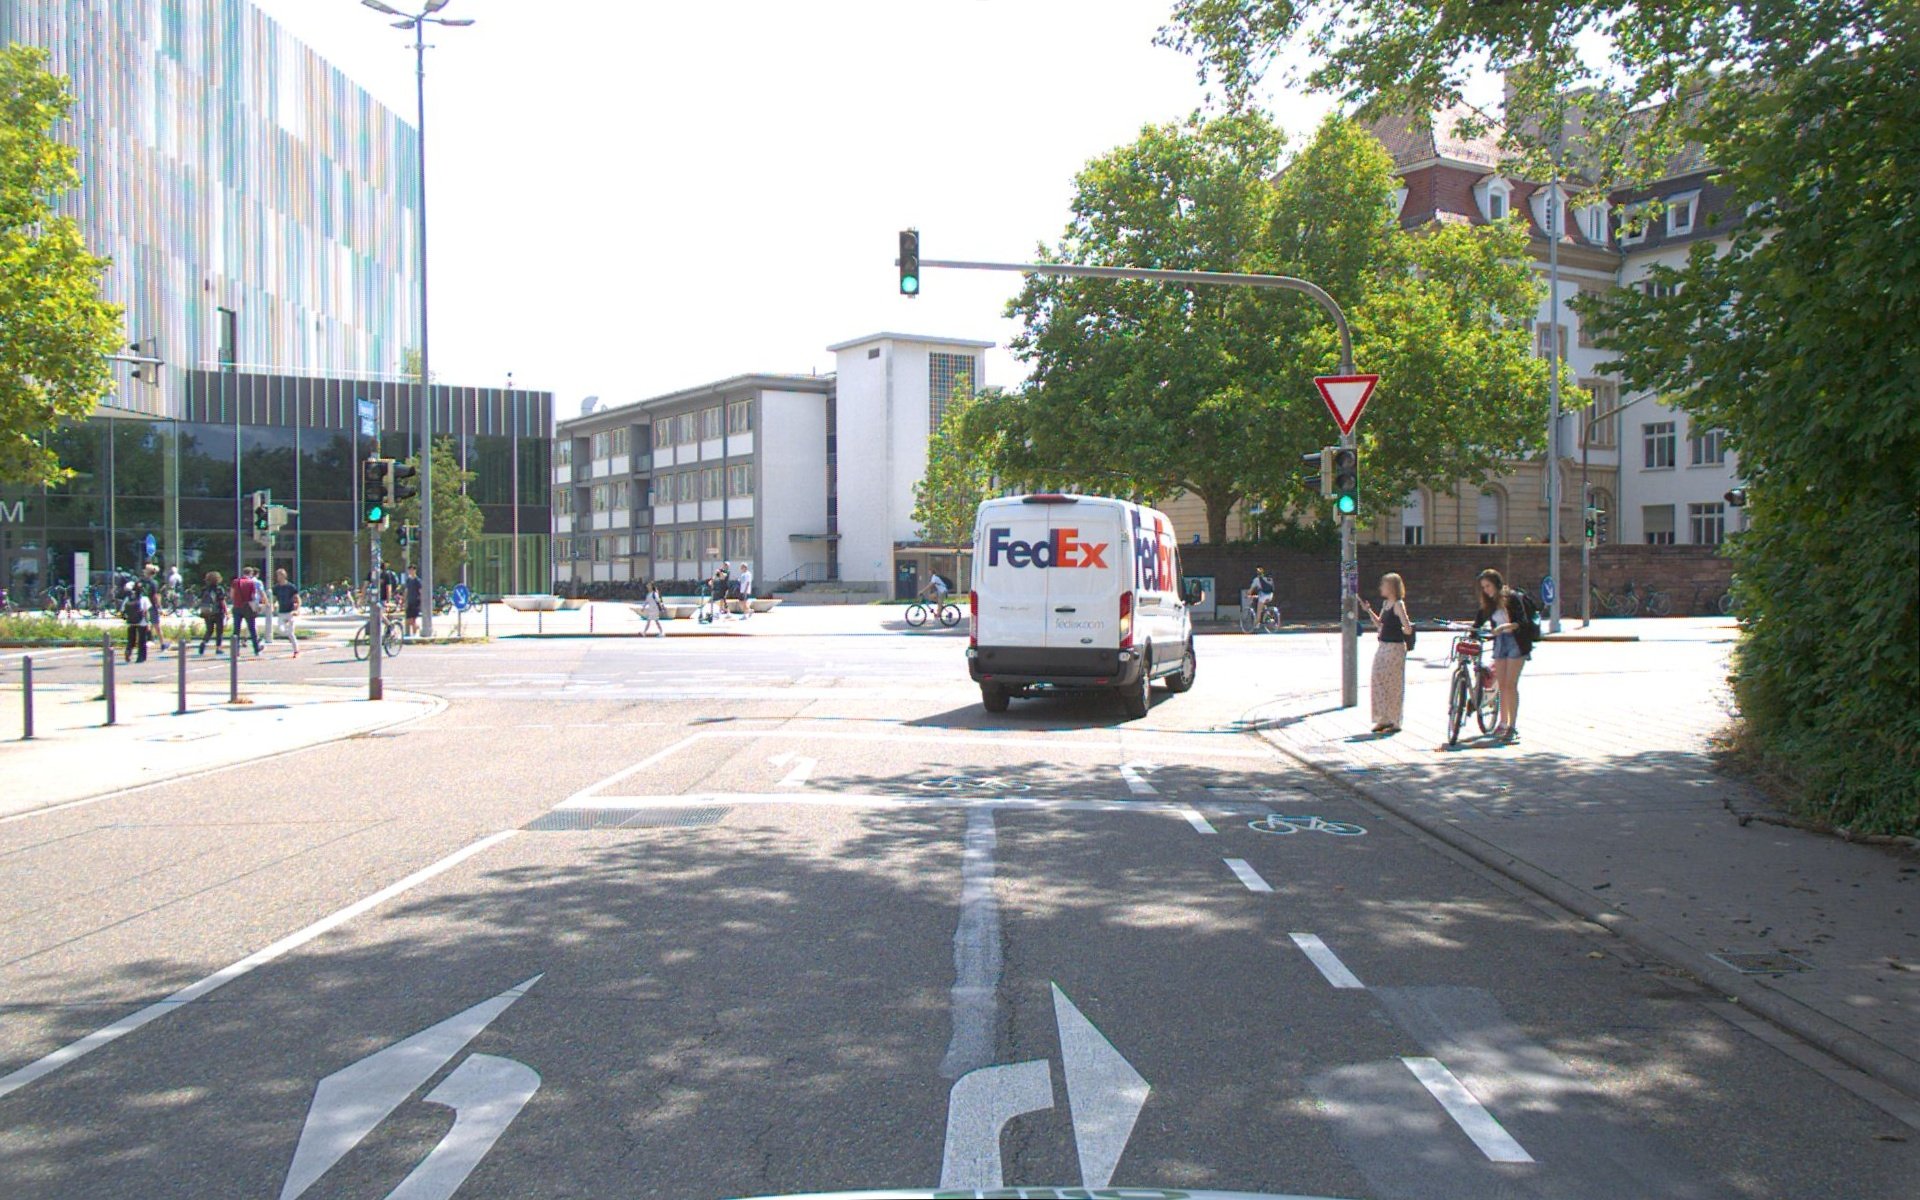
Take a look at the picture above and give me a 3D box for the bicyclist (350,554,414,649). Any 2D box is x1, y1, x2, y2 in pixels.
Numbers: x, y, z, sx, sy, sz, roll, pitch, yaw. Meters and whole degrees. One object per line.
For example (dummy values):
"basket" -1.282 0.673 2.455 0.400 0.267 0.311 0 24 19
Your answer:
"bicyclist" -11.473 0.021 32.864 0.772 1.849 1.000 -1 1 10

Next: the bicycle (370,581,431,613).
"bicycle" -22.438 -0.121 66.249 1.192 1.259 2.903 0 0 -44

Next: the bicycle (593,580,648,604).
"bicycle" -19.242 -0.458 93.795 2.934 1.387 1.102 0 0 -37

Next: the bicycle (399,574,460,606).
"bicycle" -21.489 -0.403 66.961 1.192 1.259 2.903 0 0 -44

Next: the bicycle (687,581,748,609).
"bicycle" -12.327 -0.244 84.148 2.934 1.387 1.102 0 0 -37

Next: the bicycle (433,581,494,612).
"bicycle" -20.292 -0.144 67.558 1.192 1.259 2.903 0 0 -44

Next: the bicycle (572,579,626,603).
"bicycle" -21.196 -0.508 97.143 2.934 1.387 1.102 0 0 -37

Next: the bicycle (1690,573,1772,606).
"bicycle" 24.712 -0.337 53.033 2.333 1.011 0.724 -1 1 -3

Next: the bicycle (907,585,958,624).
"bicycle" -0.842 0.131 50.874 0.830 1.165 1.995 0 1 23

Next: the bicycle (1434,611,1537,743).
"bicycle" 5.075 0.714 15.913 0.580 1.146 1.740 -3 0 28

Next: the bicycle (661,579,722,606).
"bicycle" -14.050 -0.378 86.530 2.934 1.387 1.259 0 0 -37

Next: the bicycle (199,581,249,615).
"bicycle" -27.835 -0.073 62.539 1.187 1.259 2.914 0 0 -35

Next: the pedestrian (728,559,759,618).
"pedestrian" -7.119 -0.396 54.481 0.852 1.922 0.908 0 0 -19

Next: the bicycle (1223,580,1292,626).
"bicycle" 7.714 0.061 42.976 0.544 1.150 2.153 -1 1 -29

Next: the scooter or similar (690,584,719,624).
"scooter or similar" -8.022 0.104 51.834 0.704 1.198 2.716 0 1 -13

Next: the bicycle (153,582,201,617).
"bicycle" -28.884 -0.024 60.969 1.187 1.259 2.916 0 0 -34

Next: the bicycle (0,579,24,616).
"bicycle" -33.407 -0.100 57.540 1.187 1.259 2.914 0 0 -36

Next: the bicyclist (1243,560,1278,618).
"bicyclist" 7.775 -0.293 42.818 0.508 1.477 0.779 -1 0 -29

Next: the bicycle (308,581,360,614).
"bicycle" -24.510 -0.114 64.758 1.188 1.259 2.913 0 0 -36

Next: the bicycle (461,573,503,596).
"bicycle" -33.670 -1.120 116.538 1.094 1.602 2.962 0 0 27

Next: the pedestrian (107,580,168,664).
"pedestrian" -16.203 0.417 32.589 0.754 1.625 0.799 -1 1 2

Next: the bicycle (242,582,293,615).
"bicycle" -26.530 -0.073 63.313 1.187 1.259 2.914 0 0 -35

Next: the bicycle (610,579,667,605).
"bicycle" -17.864 -0.437 91.883 2.934 1.387 1.102 0 0 -37

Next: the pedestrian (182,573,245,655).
"pedestrian" -15.681 0.278 34.742 0.808 1.683 0.862 0 1 17

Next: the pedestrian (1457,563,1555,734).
"pedestrian" 5.282 0.463 15.995 0.711 1.603 0.732 -3 -1 29

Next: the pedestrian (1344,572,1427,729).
"pedestrian" 4.460 0.518 17.372 0.715 1.603 0.776 -1 0 5

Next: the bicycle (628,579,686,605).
"bicycle" -16.422 -0.449 89.790 2.934 1.387 1.102 0 0 -37

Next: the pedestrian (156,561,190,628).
"pedestrian" -30.774 -0.225 64.671 0.967 2.609 0.999 0 0 -42

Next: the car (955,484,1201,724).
"car" 1.697 0.000 21.193 2.051 2.611 5.606 2 1 15

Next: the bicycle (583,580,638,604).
"bicycle" -20.105 -0.473 95.288 2.934 1.387 1.102 0 0 -37

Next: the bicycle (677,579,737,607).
"bicycle" -13.039 -0.363 85.255 2.934 1.387 1.102 0 0 -37

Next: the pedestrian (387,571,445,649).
"pedestrian" -13.403 0.236 40.771 0.813 1.903 1.084 0 1 24

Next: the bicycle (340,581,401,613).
"bicycle" -23.302 -0.132 65.344 1.192 1.259 2.903 0 0 -44

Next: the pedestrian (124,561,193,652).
"pedestrian" -17.138 0.137 35.384 0.835 1.909 1.006 0 1 23

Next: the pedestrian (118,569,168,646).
"pedestrian" -18.314 0.158 37.086 0.738 1.707 0.755 -1 1 -1

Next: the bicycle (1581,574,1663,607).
"bicycle" 21.029 -0.317 52.573 2.333 1.011 0.696 -1 1 -3

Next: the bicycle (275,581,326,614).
"bicycle" -25.555 -0.111 64.079 1.187 1.259 2.914 0 0 -35

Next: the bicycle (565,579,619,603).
"bicycle" -21.869 -0.519 98.329 2.934 1.387 1.102 0 0 -37

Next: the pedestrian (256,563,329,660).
"pedestrian" -13.566 0.213 33.655 0.687 1.887 1.400 -1 2 10

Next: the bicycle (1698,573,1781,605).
"bicycle" 25.005 -0.356 53.043 2.333 1.011 0.754 -1 1 -3

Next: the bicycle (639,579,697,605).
"bicycle" -15.661 -0.440 88.725 2.934 1.387 1.102 0 0 -37

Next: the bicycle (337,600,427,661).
"bicycle" -11.468 0.593 32.897 0.754 1.142 2.028 -1 1 11

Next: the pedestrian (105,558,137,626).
"pedestrian" -32.522 -0.306 64.122 0.965 2.609 1.002 0 0 -35

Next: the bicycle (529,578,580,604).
"bicycle" -25.555 -0.579 104.283 2.934 1.602 1.102 0 0 -37

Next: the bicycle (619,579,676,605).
"bicycle" -17.163 -0.431 90.852 2.934 1.387 1.102 0 0 -37

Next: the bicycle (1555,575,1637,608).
"bicycle" 20.204 -0.273 52.541 2.333 1.011 0.754 -1 1 -3

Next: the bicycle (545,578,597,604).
"bicycle" -23.958 -0.542 101.973 2.934 1.602 1.102 0 0 -37

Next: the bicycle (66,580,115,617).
"bicycle" -31.113 -0.066 59.136 1.187 1.259 2.914 0 0 -35

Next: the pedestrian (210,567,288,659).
"pedestrian" -14.571 0.252 33.923 0.789 1.839 1.267 -1 1 19

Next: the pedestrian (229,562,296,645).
"pedestrian" -15.833 0.060 37.568 0.844 1.850 1.095 0 1 24

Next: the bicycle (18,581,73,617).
"bicycle" -32.272 -0.044 58.342 1.362 1.259 2.914 0 0 -35

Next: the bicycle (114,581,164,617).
"bicycle" -29.896 -0.046 60.186 1.187 1.259 2.914 0 0 -35

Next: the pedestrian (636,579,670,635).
"pedestrian" -8.634 0.185 46.505 0.812 1.550 0.811 0 0 -19

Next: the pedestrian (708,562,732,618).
"pedestrian" -8.003 -0.349 55.142 0.658 1.846 0.811 0 0 -19

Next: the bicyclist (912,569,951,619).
"bicyclist" -0.875 -0.192 50.799 0.832 1.493 1.068 0 1 24
